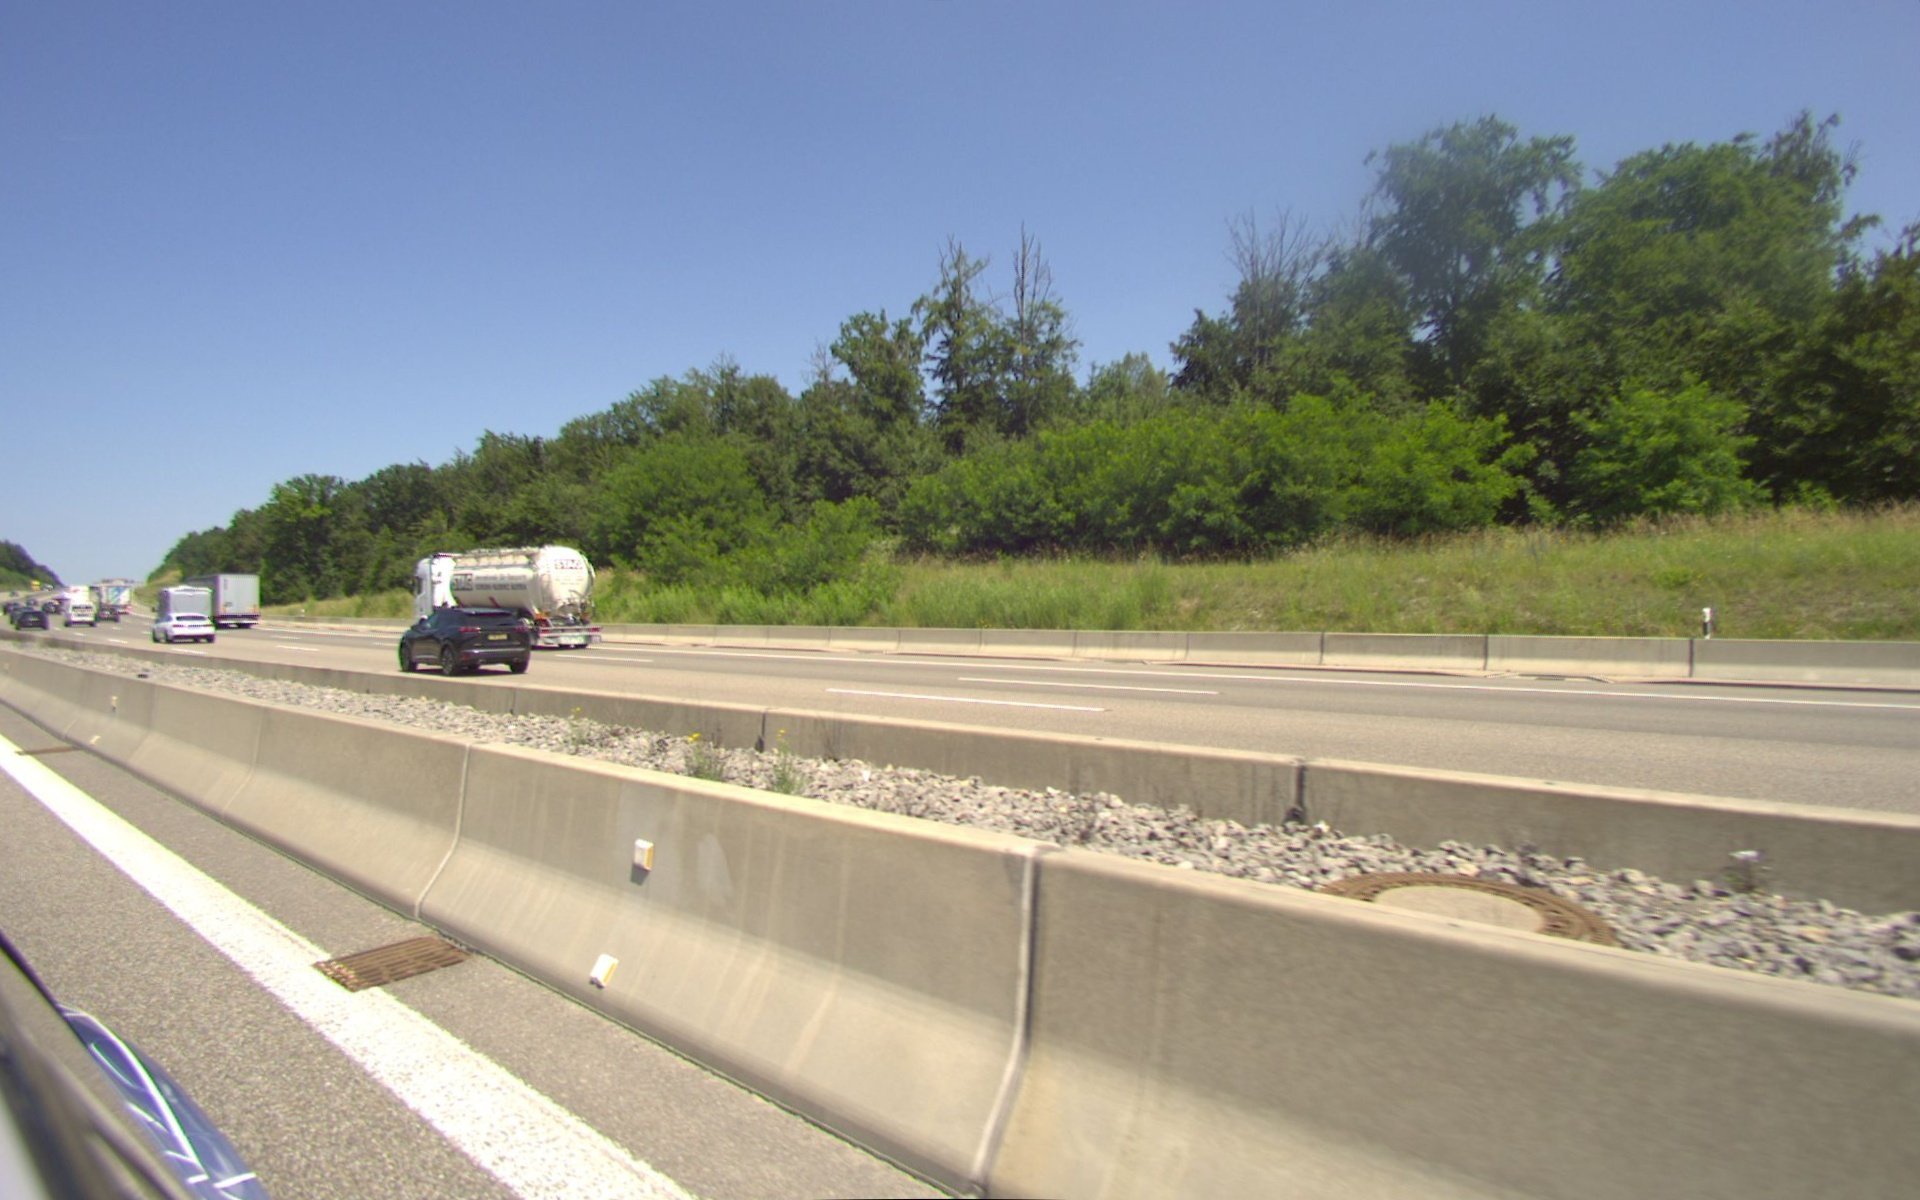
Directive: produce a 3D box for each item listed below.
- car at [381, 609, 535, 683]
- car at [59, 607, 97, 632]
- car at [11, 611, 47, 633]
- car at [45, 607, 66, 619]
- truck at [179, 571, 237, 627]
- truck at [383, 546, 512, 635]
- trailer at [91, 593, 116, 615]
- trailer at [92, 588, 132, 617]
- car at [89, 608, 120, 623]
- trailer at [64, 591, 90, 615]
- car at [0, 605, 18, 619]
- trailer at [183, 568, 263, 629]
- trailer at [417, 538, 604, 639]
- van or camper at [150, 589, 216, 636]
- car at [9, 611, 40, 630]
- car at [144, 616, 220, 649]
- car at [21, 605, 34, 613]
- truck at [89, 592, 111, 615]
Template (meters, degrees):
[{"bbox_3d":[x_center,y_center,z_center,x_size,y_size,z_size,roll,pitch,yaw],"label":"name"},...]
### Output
[{"bbox_3d":[-12.000,1.013,24.073,4.609,1.538,1.658,0,1,41],"label":"car"},{"bbox_3d":[-72.624,1.564,83.332,5.187,2.029,1.980,-1,-1,44],"label":"car"},{"bbox_3d":[-67.778,1.577,73.657,4.954,1.508,1.655,0,1,45],"label":"car"},{"bbox_3d":[-121.400,1.763,135.824,4.001,1.476,1.755,0,1,44],"label":"car"},{"bbox_3d":[-61.688,-0.118,83.006,3.007,4.405,6.461,-1,1,-44],"label":"truck"},{"bbox_3d":[-22.272,-0.409,43.864,6.618,3.570,2.676,0,1,41],"label":"truck"},{"bbox_3d":[-155.740,0.678,183.991,2.692,3.953,10.772,-1,1,-44],"label":"trailer"},{"bbox_3d":[-122.808,0.415,146.414,3.192,4.068,15.296,0,-1,-45],"label":"trailer"},{"bbox_3d":[-85.245,1.539,100.825,1.970,1.507,4.801,0,-1,-45],"label":"car"},{"bbox_3d":[-157.564,0.470,180.552,2.902,4.131,12.163,-1,1,-44],"label":"trailer"},{"bbox_3d":[-128.798,1.566,136.874,1.806,1.843,4.987,0,-1,-45],"label":"car"},{"bbox_3d":[-57.399,-0.130,78.595,2.996,4.393,14.286,-1,1,-44],"label":"trailer"},{"bbox_3d":[-18.075,-0.420,40.186,10.489,3.561,2.624,0,1,41],"label":"trailer"},{"bbox_3d":[-51.976,0.833,67.641,7.352,2.953,2.529,-1,-1,45],"label":"van or camper"},{"bbox_3d":[-86.840,1.897,93.922,5.165,1.645,1.851,-1,-1,44],"label":"car"},{"bbox_3d":[-36.663,1.485,47.632,5.046,1.470,1.972,-1,-1,42],"label":"car"},{"bbox_3d":[-180.077,1.794,195.506,1.729,1.530,4.830,0,0,-44],"label":"car"},{"bbox_3d":[-160.957,0.671,189.414,2.690,4.044,6.942,0,-1,-44],"label":"truck"}]
